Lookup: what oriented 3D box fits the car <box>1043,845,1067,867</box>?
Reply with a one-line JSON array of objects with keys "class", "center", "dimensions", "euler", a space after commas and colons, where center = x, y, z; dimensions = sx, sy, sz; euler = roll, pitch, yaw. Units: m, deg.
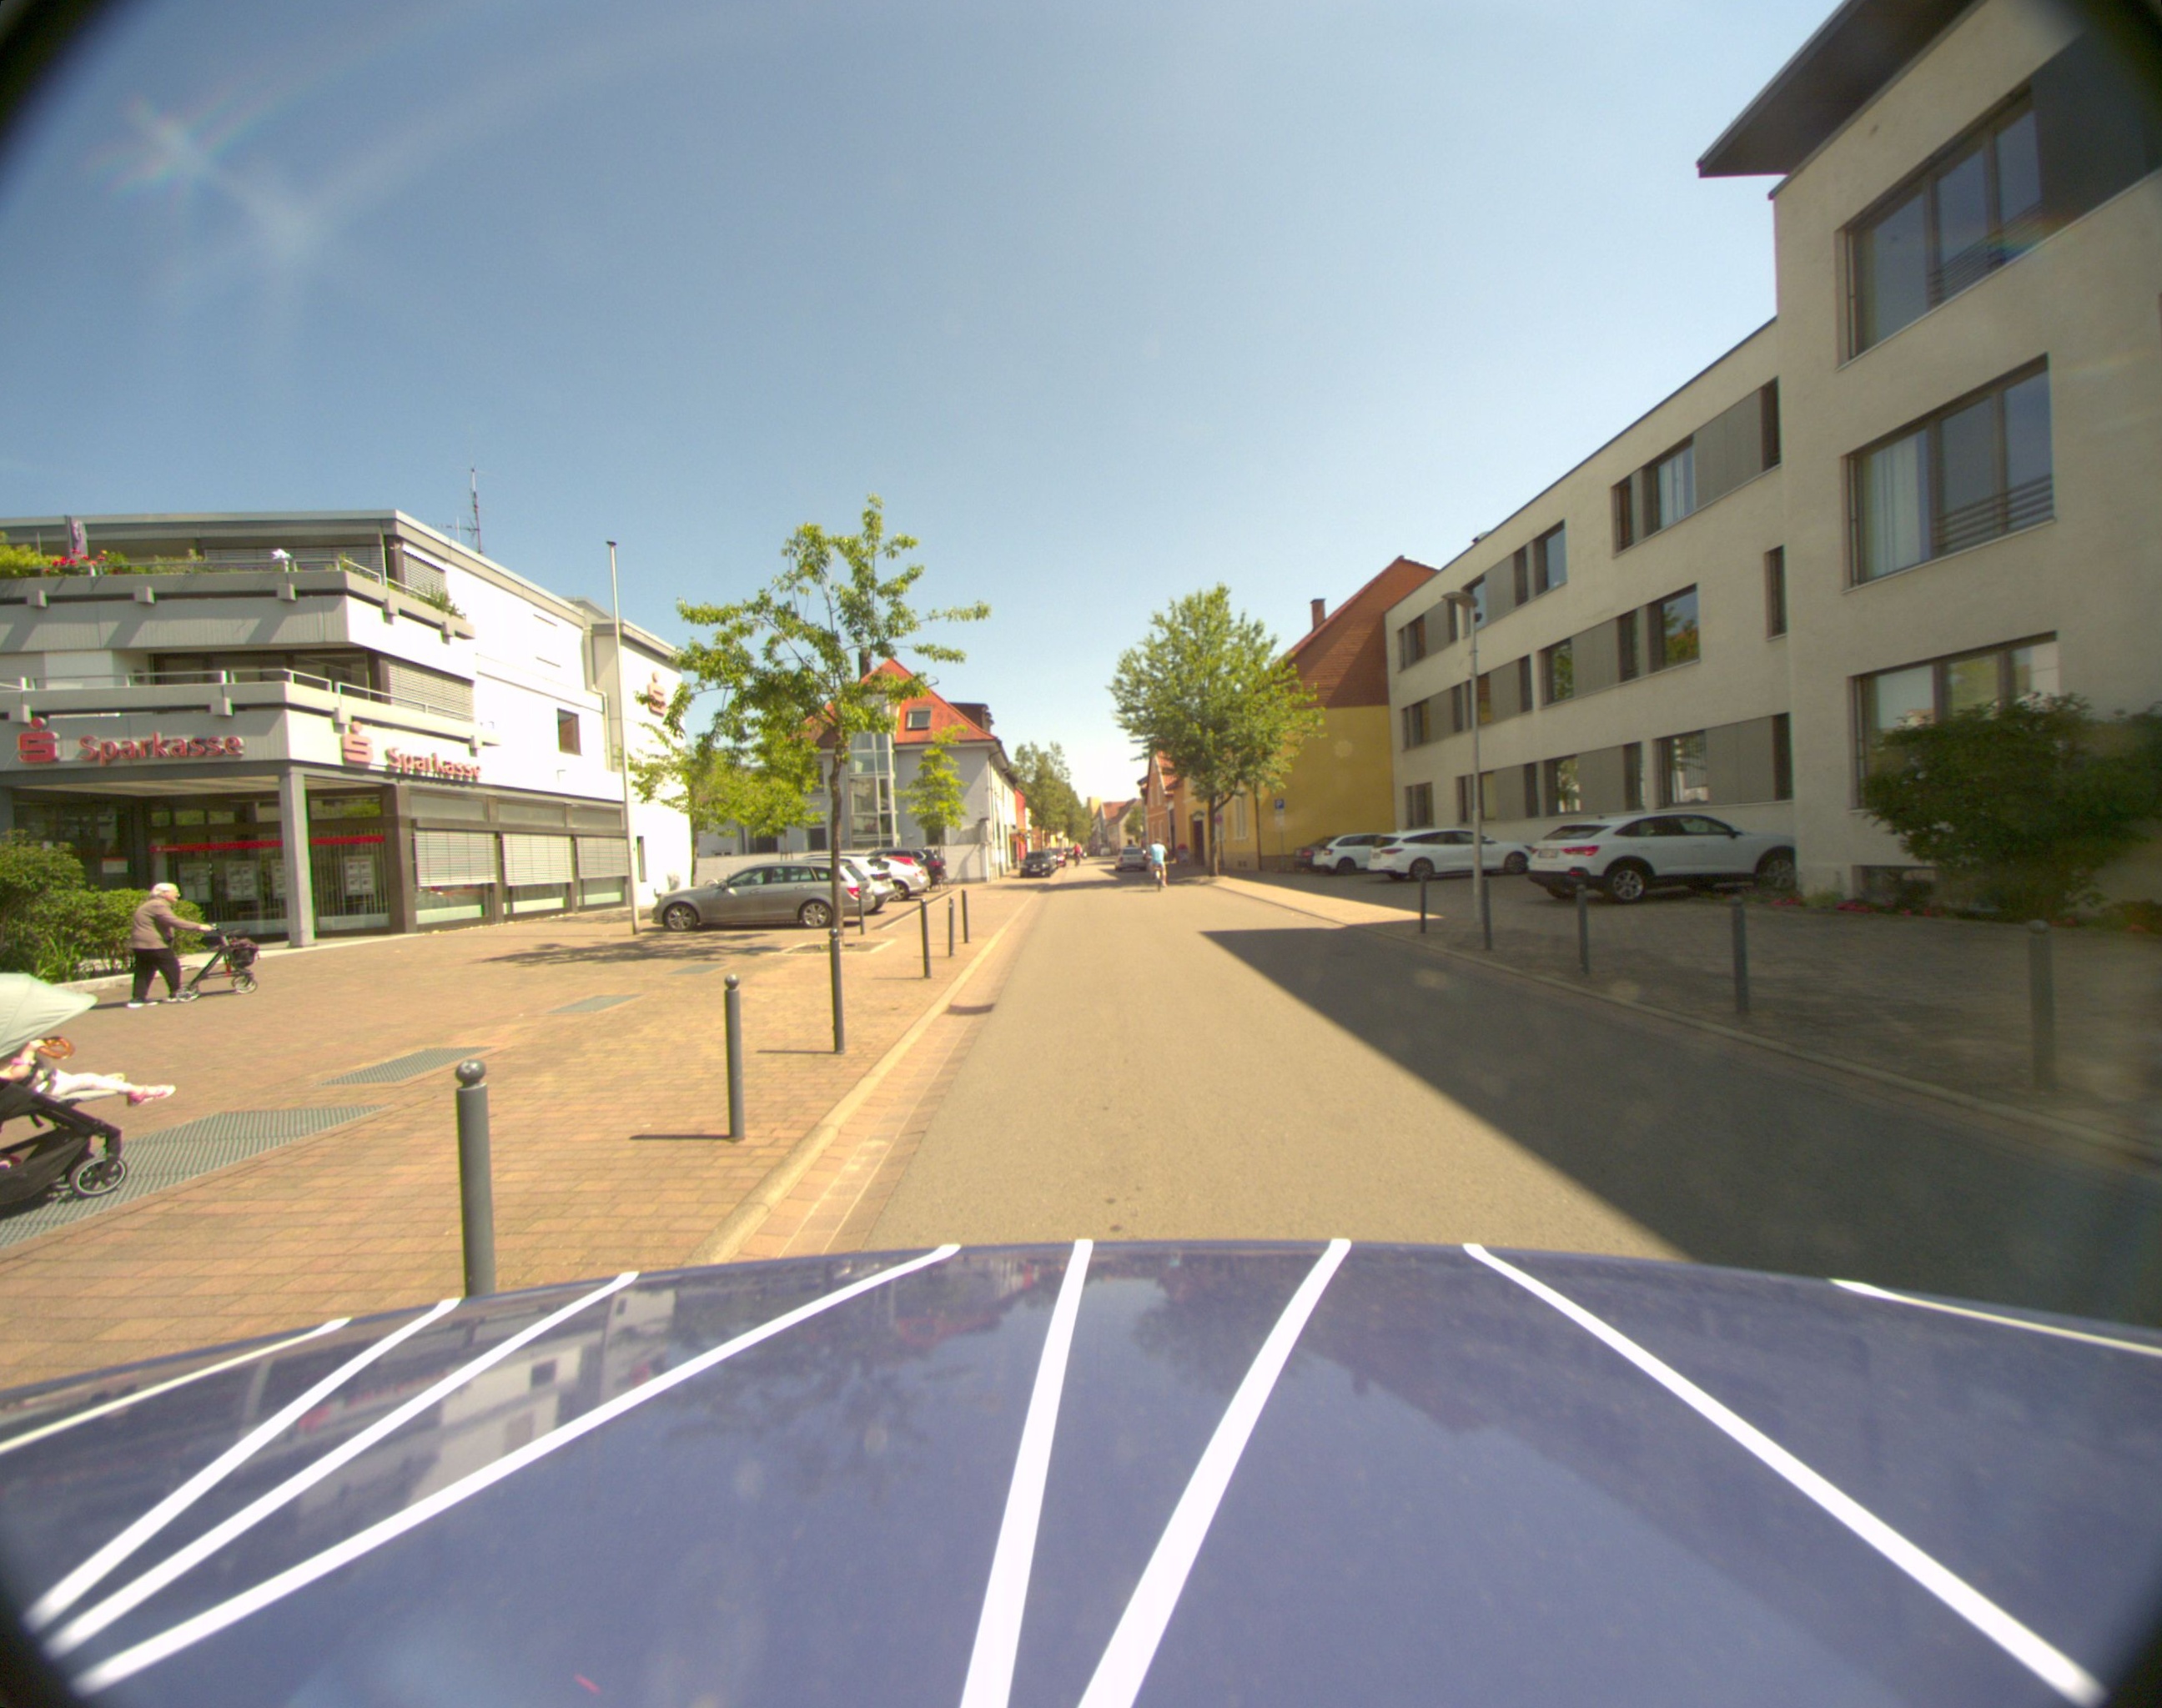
[{"class": "car", "center": [-2.143, 0.141, 62.162], "dimensions": [1.834, 1.579, 4.086], "euler": [-4, 1, -3]}]

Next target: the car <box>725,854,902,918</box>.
[{"class": "car", "center": [-6.861, 0.805, 19.860], "dimensions": [3.998, 1.564, 1.856], "euler": [0, 1, -4]}]

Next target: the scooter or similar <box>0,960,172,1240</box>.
[{"class": "scooter or similar", "center": [-4.883, 1.089, 3.259], "dimensions": [0.627, 1.100, 1.045], "euler": [-2, 1, 16]}]

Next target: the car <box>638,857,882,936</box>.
[{"class": "car", "center": [-6.932, 0.887, 16.881], "dimensions": [4.589, 1.504, 1.915], "euler": [-1, 1, -6]}]

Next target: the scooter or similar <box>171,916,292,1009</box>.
[{"class": "scooter or similar", "center": [-11.026, 1.387, 9.892], "dimensions": [0.590, 1.069, 0.805], "euler": [-3, 1, 7]}]

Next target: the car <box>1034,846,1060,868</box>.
[{"class": "car", "center": [-2.469, 0.228, 56.036], "dimensions": [1.741, 1.504, 3.735], "euler": [-2, 0, -1]}]

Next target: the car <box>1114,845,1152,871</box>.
[{"class": "car", "center": [3.108, 0.209, 45.858], "dimensions": [1.885, 1.455, 4.435], "euler": [-1, 1, -1]}]

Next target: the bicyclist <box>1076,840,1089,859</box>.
[{"class": "bicyclist", "center": [0.158, -0.392, 66.698], "dimensions": [1.028, 1.635, 1.025], "euler": [-2, 1, 3]}]

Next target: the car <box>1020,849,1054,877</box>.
[{"class": "car", "center": [-2.393, 0.472, 42.500], "dimensions": [1.708, 1.473, 3.920], "euler": [-1, 1, -1]}]

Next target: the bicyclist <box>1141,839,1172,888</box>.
[{"class": "bicyclist", "center": [2.378, 0.292, 23.939], "dimensions": [0.669, 1.518, 0.763], "euler": [-1, 1, 30]}]

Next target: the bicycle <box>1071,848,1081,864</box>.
[{"class": "bicycle", "center": [-0.365, 0.159, 58.509], "dimensions": [0.635, 1.227, 1.894], "euler": [-1, -1, 2]}]

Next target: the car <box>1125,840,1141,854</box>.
[{"class": "car", "center": [6.883, -0.941, 100.145], "dimensions": [1.863, 1.620, 4.048], "euler": [-3, 1, 7]}]

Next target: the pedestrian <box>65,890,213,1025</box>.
[{"class": "pedestrian", "center": [-11.276, 1.214, 9.127], "dimensions": [0.668, 1.488, 0.811], "euler": [-3, 1, 8]}]

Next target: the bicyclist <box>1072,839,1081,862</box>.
[{"class": "bicyclist", "center": [-0.375, -0.265, 58.526], "dimensions": [0.645, 1.766, 0.722], "euler": [-1, 0, 2]}]

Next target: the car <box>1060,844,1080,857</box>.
[{"class": "car", "center": [-1.405, -0.526, 100.369], "dimensions": [1.928, 1.594, 4.110], "euler": [-3, 1, 7]}]

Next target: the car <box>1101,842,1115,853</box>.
[{"class": "car", "center": [5.805, -1.360, 162.880], "dimensions": [2.443, 2.224, 4.958], "euler": [-3, 1, -3]}]

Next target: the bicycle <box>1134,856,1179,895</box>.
[{"class": "bicycle", "center": [2.403, 0.658, 23.968], "dimensions": [0.674, 1.103, 1.899], "euler": [-1, 1, 29]}]

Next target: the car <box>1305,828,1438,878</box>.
[{"class": "car", "center": [10.366, -0.036, 27.332], "dimensions": [3.997, 1.443, 1.807], "euler": [-4, 0, 0]}]

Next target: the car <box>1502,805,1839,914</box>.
[{"class": "car", "center": [10.633, 0.071, 13.986], "dimensions": [4.518, 1.545, 2.147], "euler": [-4, 1, -2]}]

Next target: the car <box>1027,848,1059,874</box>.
[{"class": "car", "center": [-2.383, 0.418, 48.223], "dimensions": [1.721, 1.473, 4.095], "euler": [-2, 1, 1]}]

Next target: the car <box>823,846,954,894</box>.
[{"class": "car", "center": [-7.475, 0.610, 29.908], "dimensions": [4.643, 1.761, 2.147], "euler": [-1, 0, -3]}]

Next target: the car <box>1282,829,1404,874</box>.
[{"class": "car", "center": [10.251, -0.087, 29.936], "dimensions": [3.998, 1.423, 1.971], "euler": [-4, 0, -4]}]

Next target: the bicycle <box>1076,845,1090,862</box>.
[{"class": "bicycle", "center": [0.190, -0.059, 66.962], "dimensions": [0.959, 1.363, 2.406], "euler": [-2, 1, 4]}]

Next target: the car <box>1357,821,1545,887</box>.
[{"class": "car", "center": [10.748, -0.040, 22.283], "dimensions": [4.515, 1.545, 1.934], "euler": [-4, 2, 0]}]
